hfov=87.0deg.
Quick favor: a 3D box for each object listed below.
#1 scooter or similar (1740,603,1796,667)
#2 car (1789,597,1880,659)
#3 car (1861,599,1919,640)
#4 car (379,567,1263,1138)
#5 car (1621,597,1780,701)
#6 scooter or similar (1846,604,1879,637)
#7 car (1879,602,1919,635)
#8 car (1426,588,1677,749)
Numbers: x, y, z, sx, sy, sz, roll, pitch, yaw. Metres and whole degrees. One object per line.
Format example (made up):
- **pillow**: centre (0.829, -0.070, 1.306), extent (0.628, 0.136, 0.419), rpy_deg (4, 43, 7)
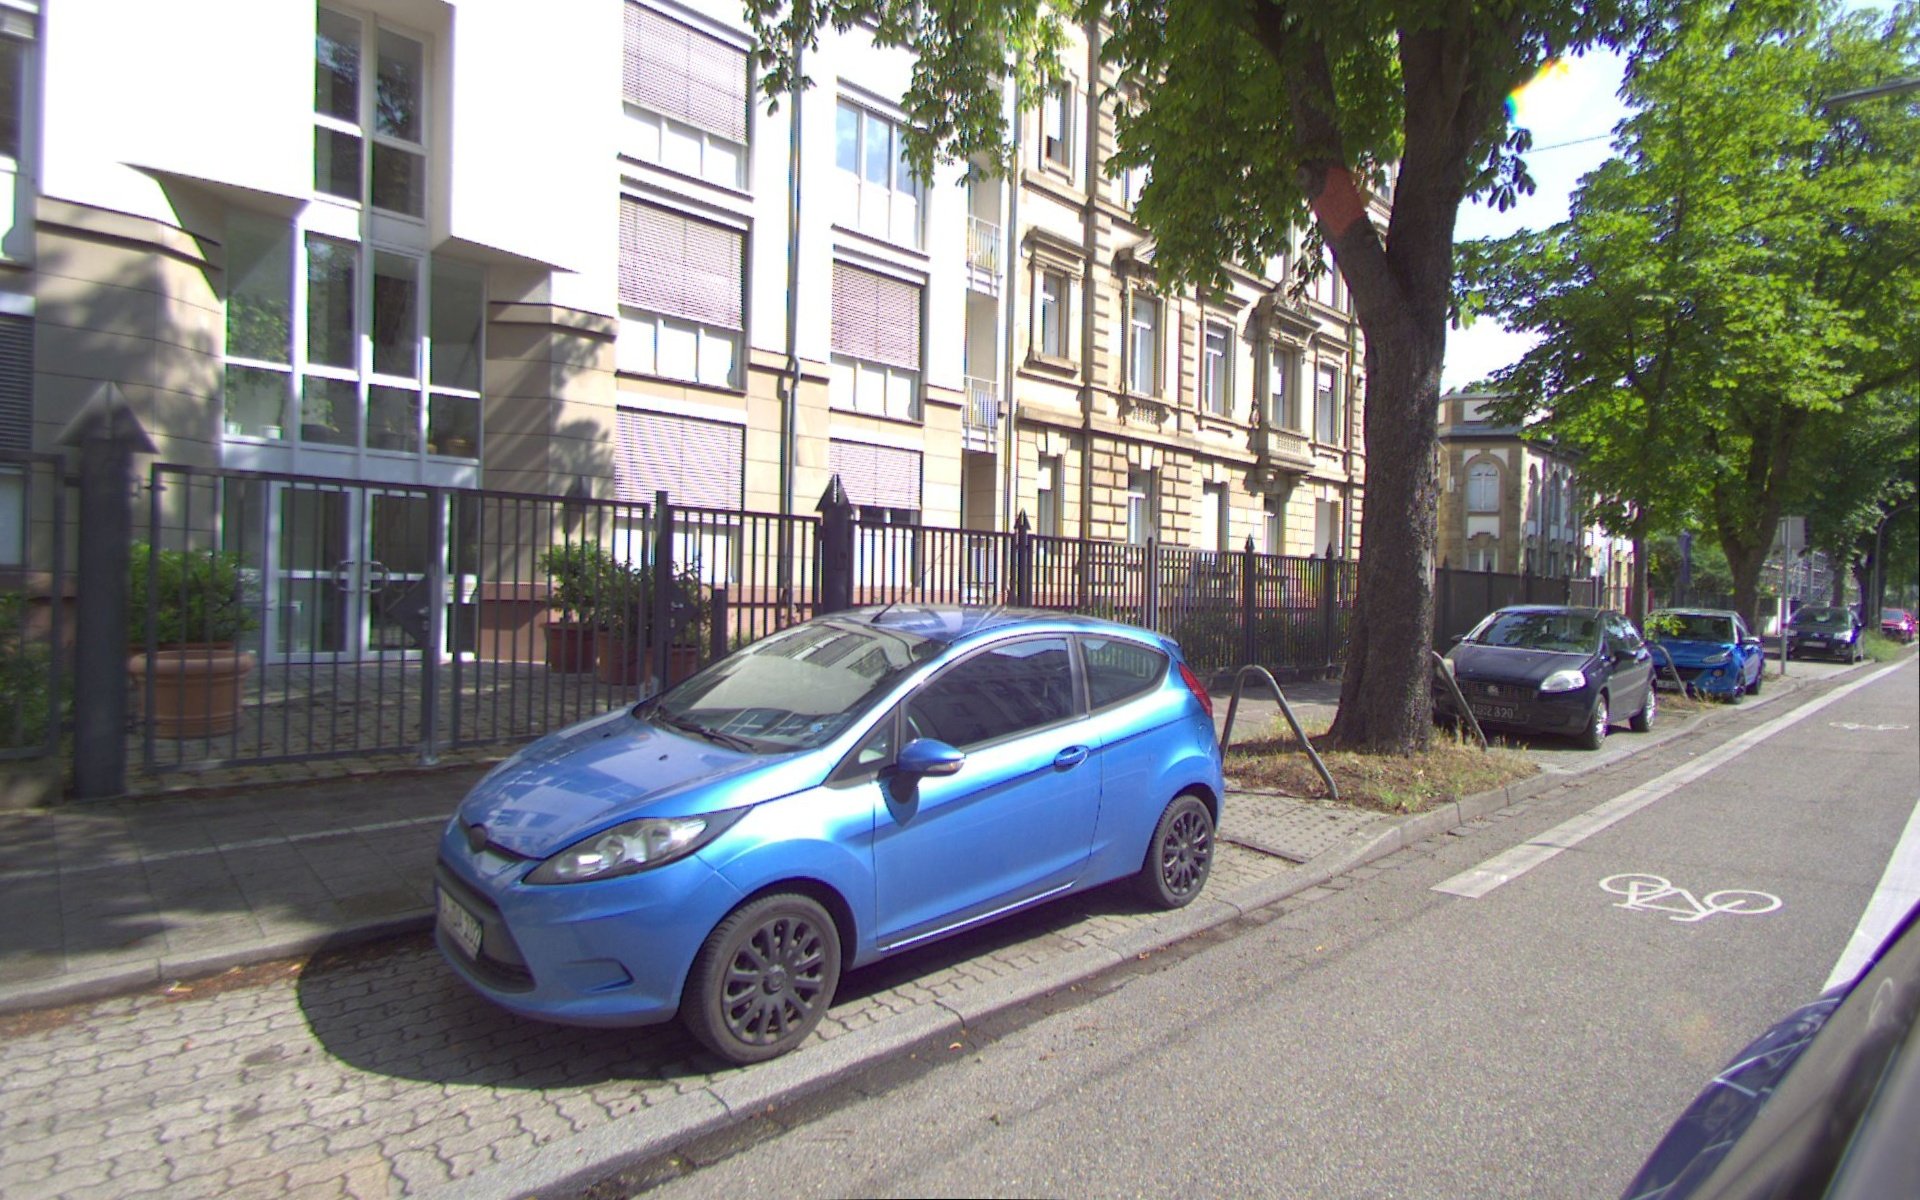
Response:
- **scooter or similar**: centre (17.721, 0.748, 22.214), extent (0.436, 1.315, 1.176), rpy_deg (4, 1, 15)
- **car**: centre (26.137, 0.774, 30.198), extent (4.135, 1.610, 1.698), rpy_deg (0, 3, -45)
- **car**: centre (42.256, 0.835, 45.895), extent (1.877, 1.697, 4.214), rpy_deg (4, 3, 44)
- **car**: centre (-0.335, 0.680, 4.671), extent (3.784, 1.514, 1.626), rpy_deg (0, 3, -44)
- **car**: centre (12.692, 0.745, 17.282), extent (1.641, 1.514, 3.568), rpy_deg (4, 2, 45)
- **scooter or similar**: centre (36.127, 0.811, 40.495), extent (1.233, 1.252, 0.343), rpy_deg (2, 3, -19)
- **car**: centre (47.657, 0.918, 51.175), extent (1.600, 1.445, 3.543), rpy_deg (6, 4, 41)
- **car**: centre (6.976, 0.666, 11.776), extent (1.640, 1.514, 3.697), rpy_deg (4, 2, 44)
